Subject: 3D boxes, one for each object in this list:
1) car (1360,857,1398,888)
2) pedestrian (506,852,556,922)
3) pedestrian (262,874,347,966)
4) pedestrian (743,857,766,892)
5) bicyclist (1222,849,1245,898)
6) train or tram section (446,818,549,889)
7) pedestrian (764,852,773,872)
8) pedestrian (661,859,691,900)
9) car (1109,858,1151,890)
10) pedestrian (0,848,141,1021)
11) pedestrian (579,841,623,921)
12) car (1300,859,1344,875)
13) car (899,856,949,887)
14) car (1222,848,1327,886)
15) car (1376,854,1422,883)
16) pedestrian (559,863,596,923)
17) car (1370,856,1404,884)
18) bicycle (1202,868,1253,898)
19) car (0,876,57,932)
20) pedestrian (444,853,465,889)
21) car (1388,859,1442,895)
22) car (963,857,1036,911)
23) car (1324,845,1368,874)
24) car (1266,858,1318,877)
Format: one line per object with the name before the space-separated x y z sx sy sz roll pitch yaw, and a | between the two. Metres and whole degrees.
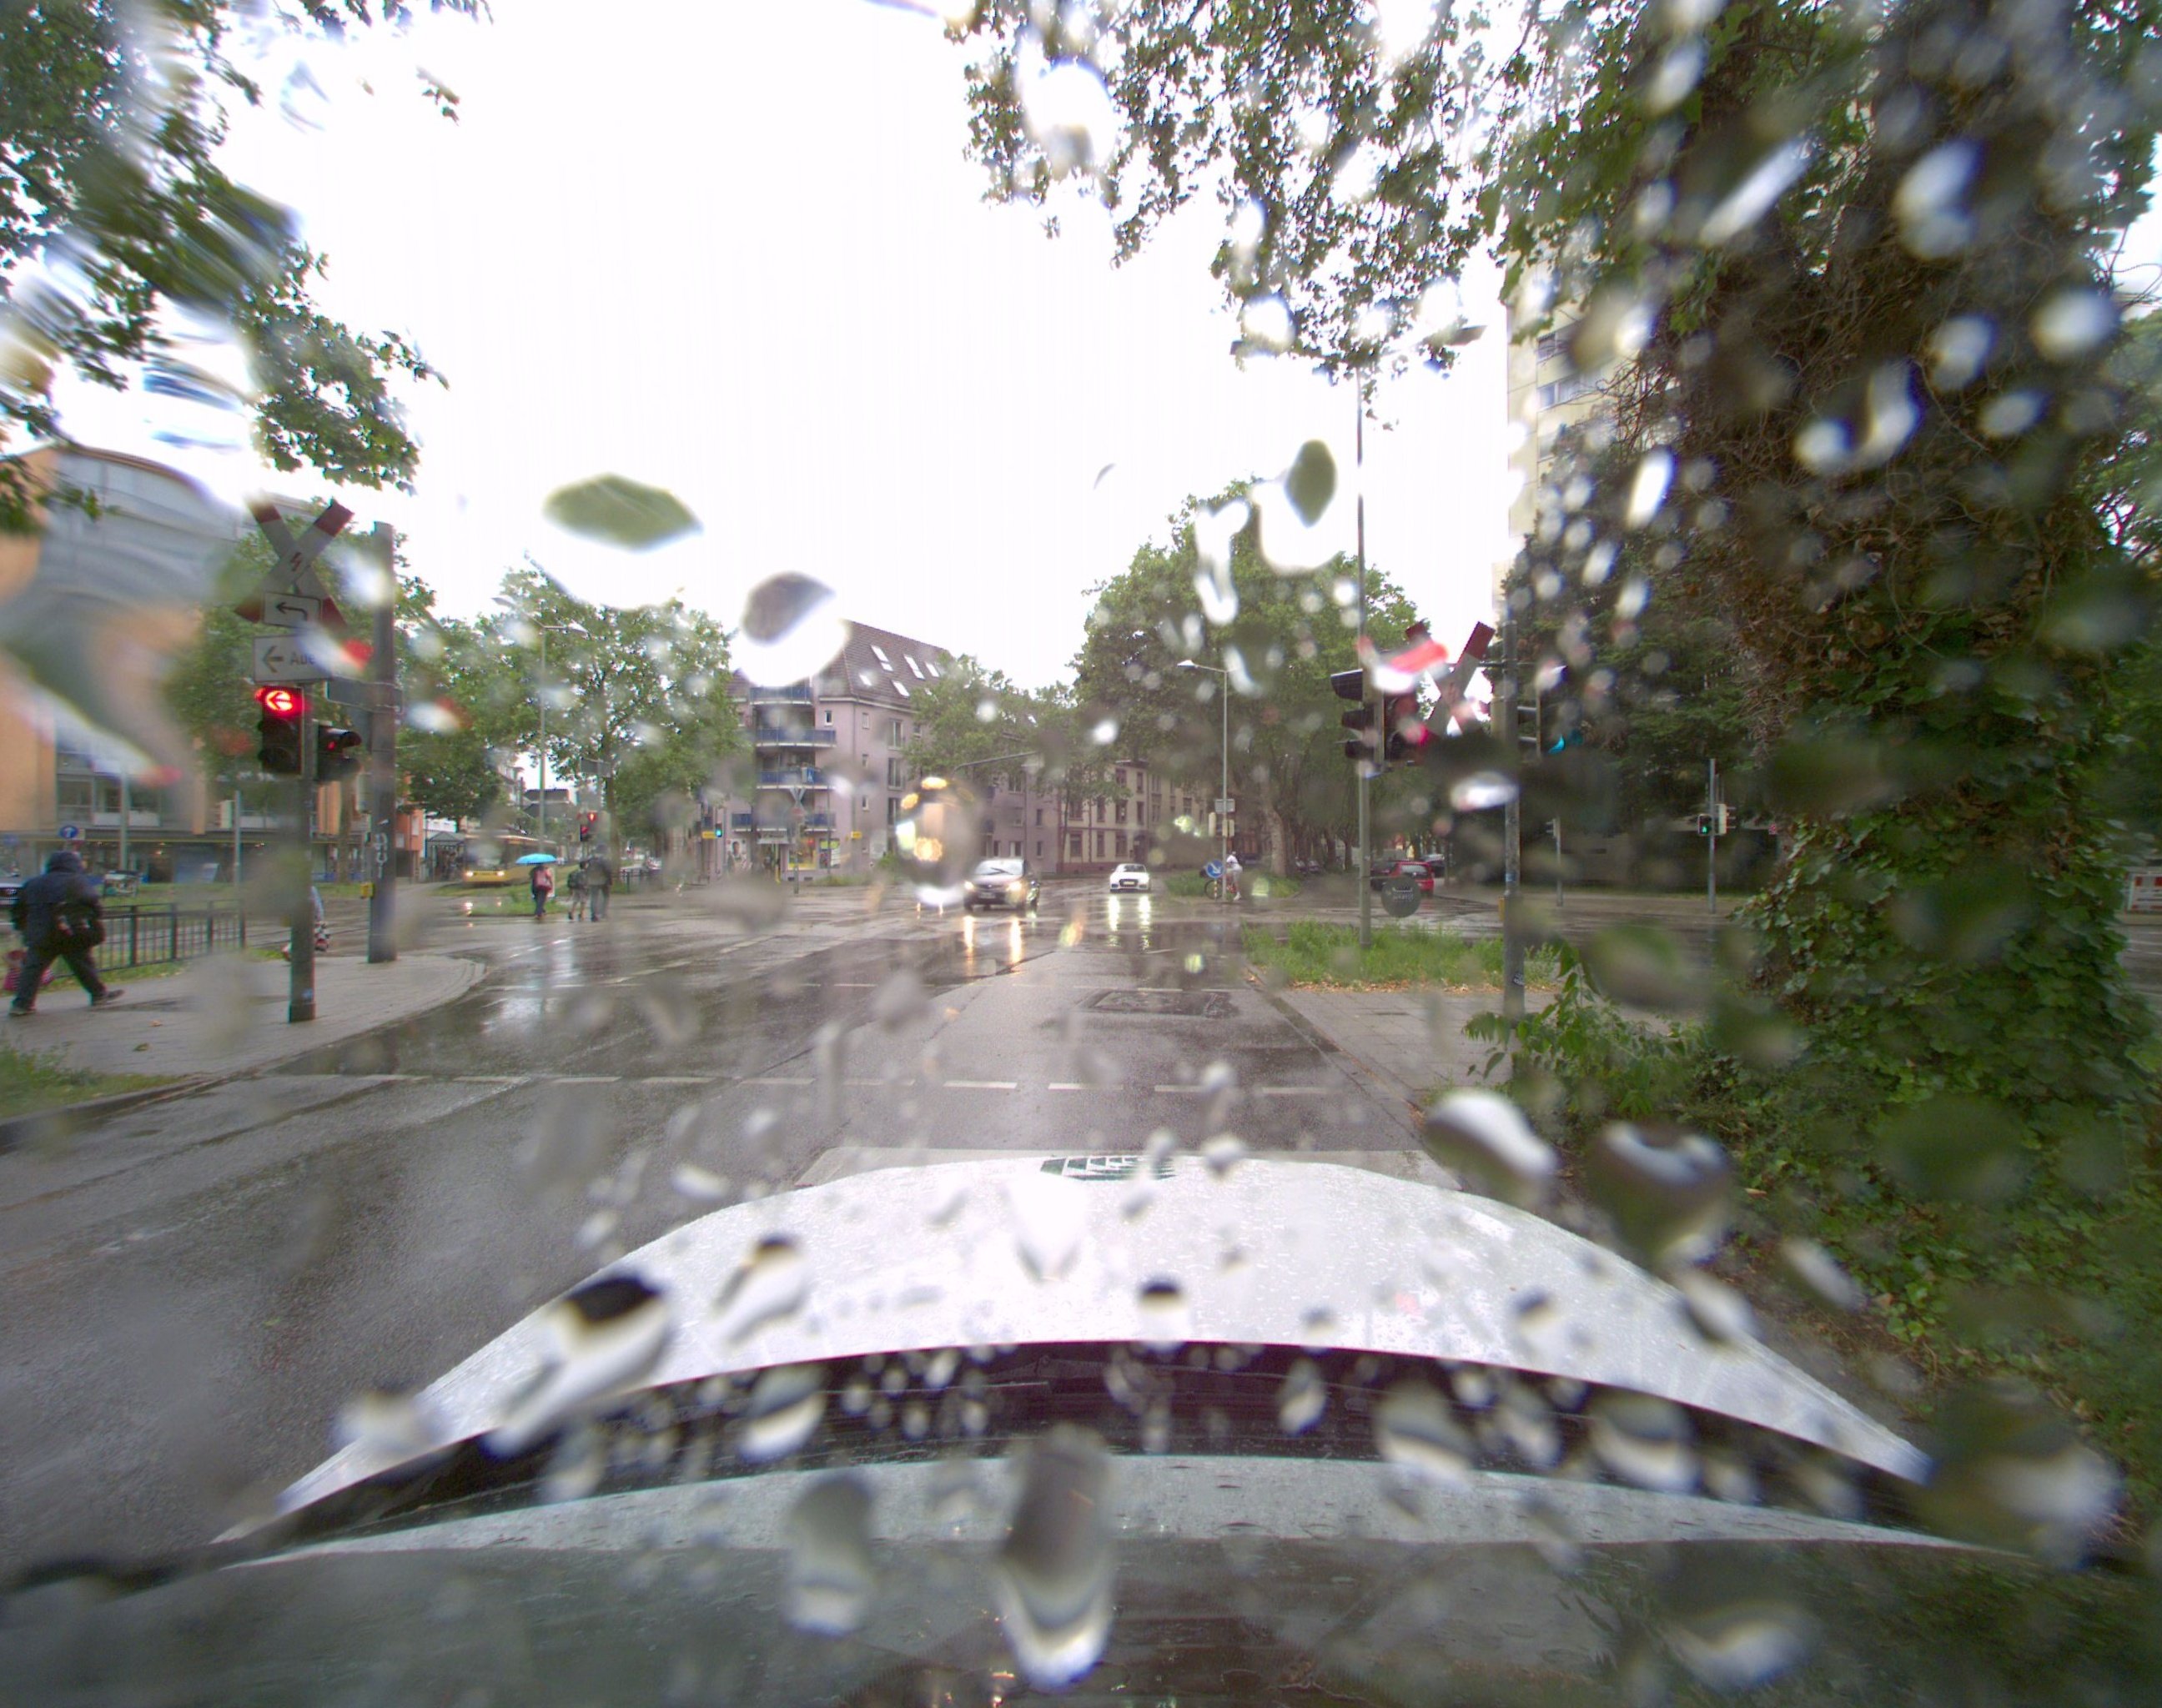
car | 17.315 1.063 47.415 1.769 1.727 4.017 -1 -1 16
pedestrian | -14.185 0.827 21.038 0.962 1.766 0.944 0 -1 -28
pedestrian | -11.882 0.989 12.481 0.657 1.349 0.706 0 0 -12
pedestrian | -14.447 0.899 36.044 0.749 1.533 0.789 0 -1 -9
bicyclist | 5.681 0.716 30.355 0.790 1.786 0.699 -1 -1 9
train or tram section | -36.332 0.041 51.409 2.897 3.768 17.089 0 -1 -28
pedestrian | -20.860 0.505 54.365 0.560 1.329 0.443 0 -1 -13
pedestrian | -16.324 1.013 32.840 0.671 1.600 0.968 0 -1 2
car | 2.373 0.937 39.193 1.876 1.436 4.004 0 0 4
pedestrian | -10.705 0.800 8.624 0.844 1.698 0.680 -3 2 -42
pedestrian | -11.440 0.631 19.435 0.791 1.855 0.676 0 0 -22
car | 23.125 1.250 78.250 3.958 1.547 2.008 -1 -1 14
car | -8.017 0.855 41.830 1.745 1.512 3.839 0 0 1
car | 7.743 0.519 32.652 3.958 1.486 2.008 -1 -1 14
car | 15.884 0.696 40.860 1.770 1.348 3.945 0 1 16
pedestrian | -12.275 0.936 19.867 0.651 1.396 0.776 0 0 -23
car | 21.160 1.087 56.458 1.908 1.806 4.017 -1 -1 16
bicycle | 5.452 1.070 30.387 1.862 1.081 0.658 -1 -1 9
car | -32.236 1.432 23.547 3.994 1.530 1.615 0 1 12
pedestrian | -37.736 1.038 49.041 0.889 2.151 0.902 0 -1 -30
car | 14.816 0.981 36.324 1.778 1.498 4.017 0 0 16
car | -2.317 0.835 24.017 1.708 1.459 3.748 0 -1 1
car | 28.311 0.582 87.207 2.040 2.948 4.742 0 -1 -18
car | 16.922 1.045 65.220 3.958 1.486 2.008 -1 -1 14
